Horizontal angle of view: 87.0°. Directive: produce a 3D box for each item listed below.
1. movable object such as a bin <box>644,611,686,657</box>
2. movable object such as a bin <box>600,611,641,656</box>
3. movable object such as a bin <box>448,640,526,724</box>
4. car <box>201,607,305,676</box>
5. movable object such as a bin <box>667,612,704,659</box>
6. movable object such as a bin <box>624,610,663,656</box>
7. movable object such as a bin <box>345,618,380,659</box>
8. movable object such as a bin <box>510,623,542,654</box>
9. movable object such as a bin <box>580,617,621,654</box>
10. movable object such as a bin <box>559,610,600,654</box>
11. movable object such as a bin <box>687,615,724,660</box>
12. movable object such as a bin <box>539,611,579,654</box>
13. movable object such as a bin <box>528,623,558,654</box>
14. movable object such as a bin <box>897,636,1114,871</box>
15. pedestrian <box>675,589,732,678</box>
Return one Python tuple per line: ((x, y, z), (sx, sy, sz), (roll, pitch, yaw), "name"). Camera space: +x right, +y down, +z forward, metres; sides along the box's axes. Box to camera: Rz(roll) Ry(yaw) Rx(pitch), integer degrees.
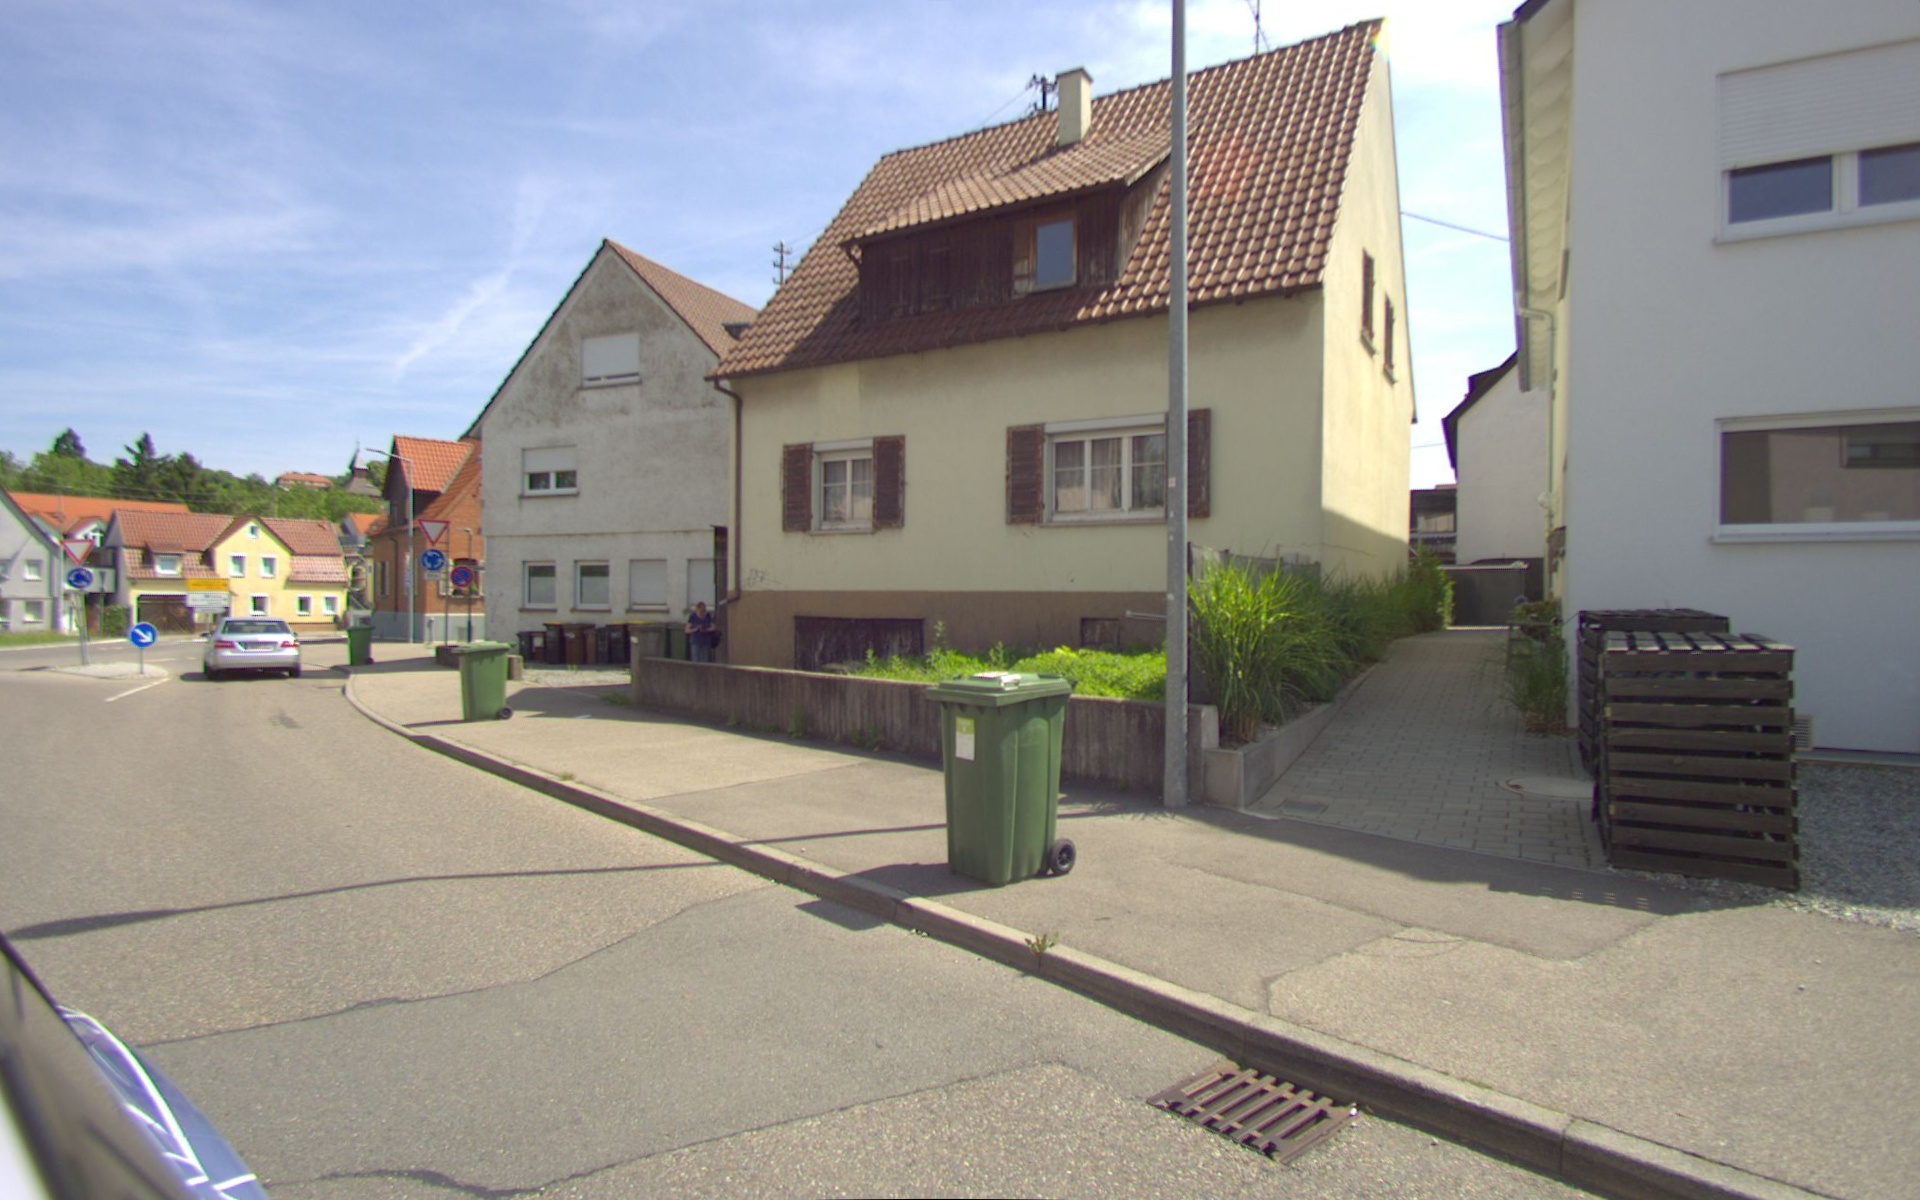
((-7.231, 0.825, 24.828), (0.656, 1.090, 0.736), (-1, 1, 22), "movable object such as a bin")
((-8.474, 0.824, 25.273), (0.693, 1.090, 0.680), (-1, 1, 22), "movable object such as a bin")
((-6.464, 1.103, 13.837), (0.782, 1.065, 0.651), (-1, 0, -45), "movable object such as a bin")
((-17.382, 0.937, 24.795), (1.930, 1.497, 4.469), (-1, 0, -37), "car")
((-6.655, 0.850, 24.551), (0.580, 1.090, 0.675), (-1, 1, 22), "movable object such as a bin")
((-7.836, 0.818, 25.052), (0.621, 1.090, 0.680), (-1, 1, 22), "movable object such as a bin")
((-16.243, 1.043, 27.527), (0.797, 1.053, 0.829), (-1, 0, -31), "movable object such as a bin")
((-11.489, 1.015, 26.796), (0.643, 0.811, 0.483), (-1, 1, 24), "movable object such as a bin")
((-9.095, 0.885, 25.613), (0.693, 0.903, 0.680), (-1, 1, 22), "movable object such as a bin")
((-9.746, 0.814, 25.923), (0.693, 1.094, 0.680), (-1, 1, 22), "movable object such as a bin")
((-6.110, 0.901, 24.332), (0.599, 1.043, 0.625), (-1, 1, 22), "movable object such as a bin")
((-10.372, 0.833, 26.186), (0.640, 1.094, 0.680), (-1, 1, 22), "movable object such as a bin")
((-10.947, 1.016, 26.546), (0.524, 0.786, 0.483), (-1, 1, 22), "movable object such as a bin")
((0.242, 0.764, 5.481), (0.815, 1.085, 0.819), (-2, 0, -41), "movable object such as a bin")
((-4.713, 0.593, 18.616), (0.627, 1.586, 0.769), (-1, 0, 40), "pedestrian")
